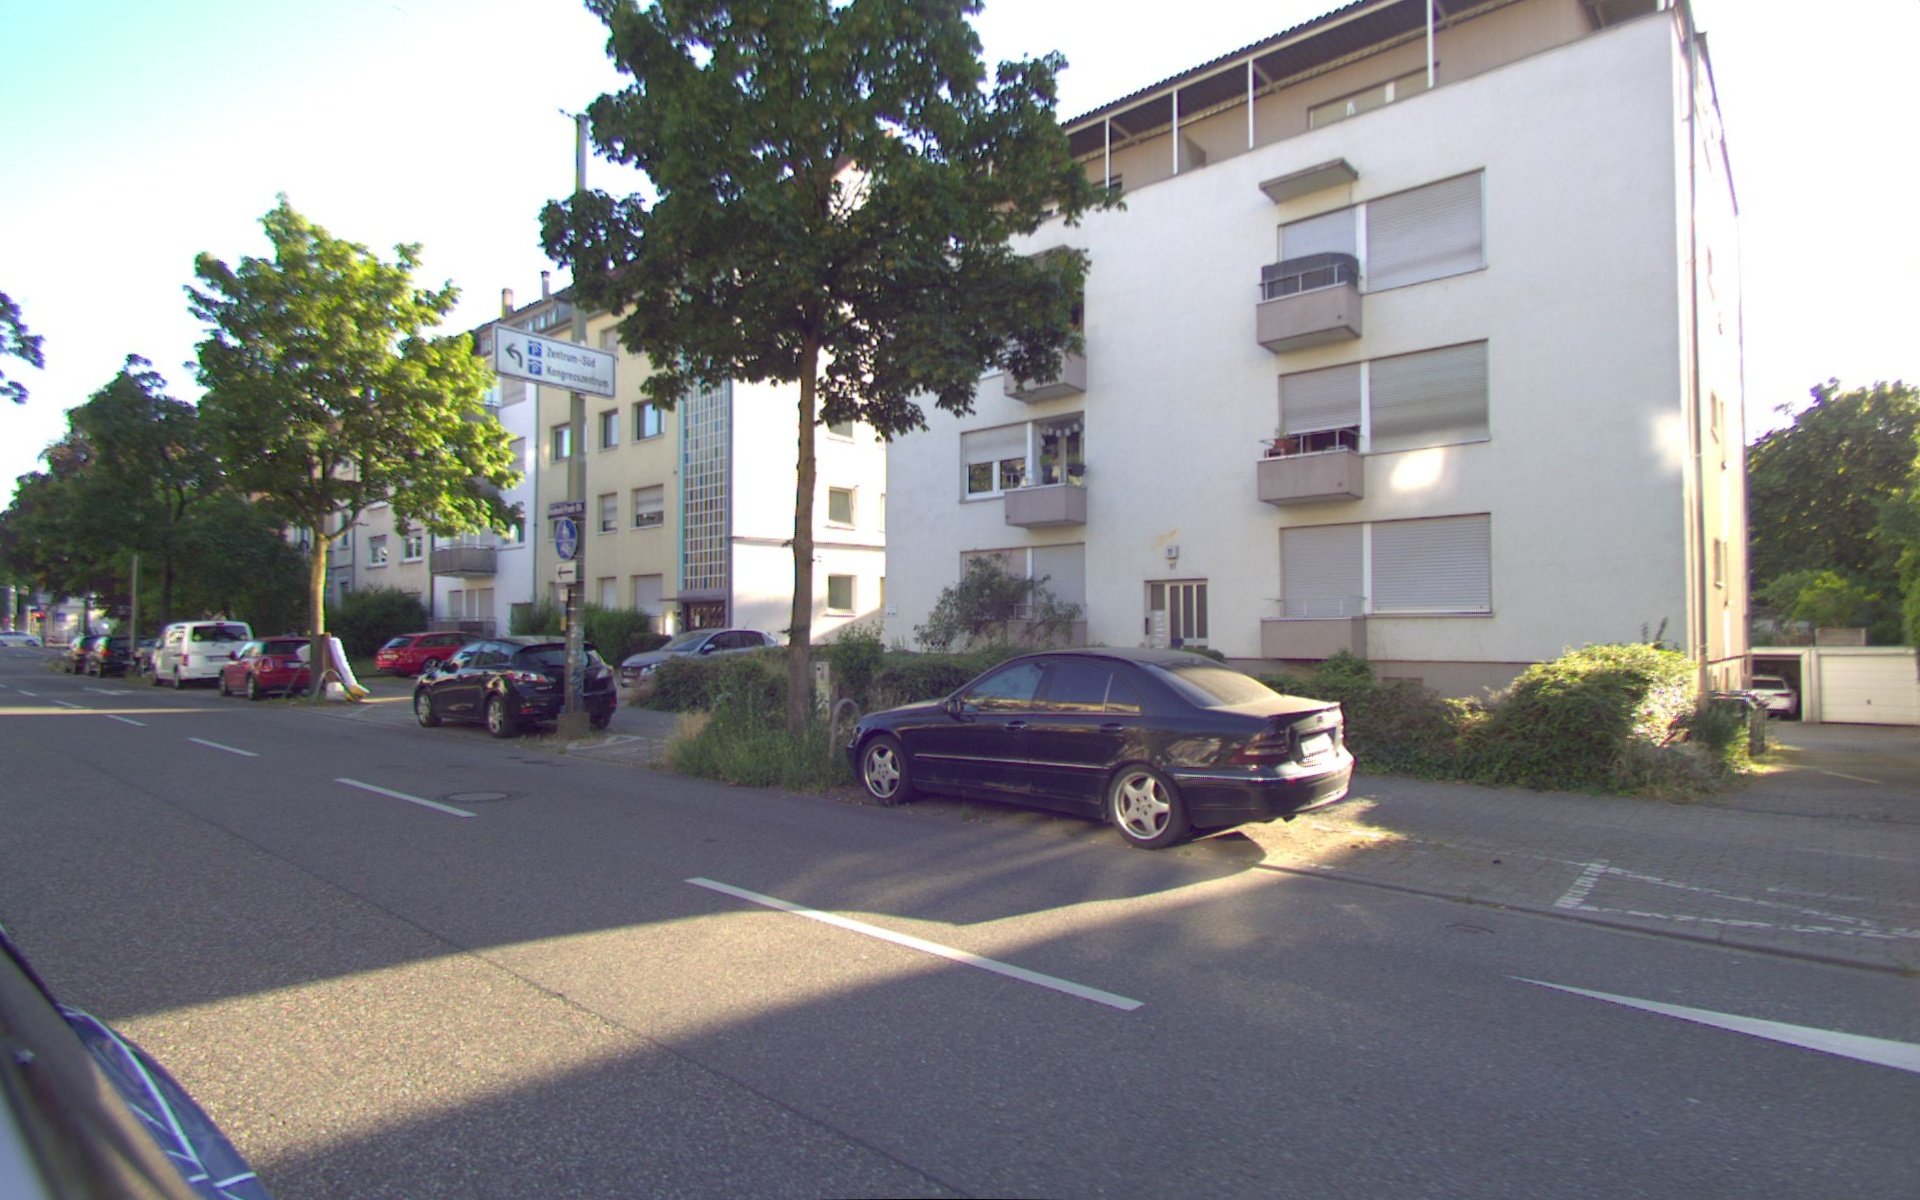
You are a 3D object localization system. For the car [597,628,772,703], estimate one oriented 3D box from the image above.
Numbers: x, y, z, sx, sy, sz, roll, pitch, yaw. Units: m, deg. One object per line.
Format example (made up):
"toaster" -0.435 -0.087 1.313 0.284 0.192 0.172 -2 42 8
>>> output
"car" -6.063 1.401 22.518 1.686 1.535 3.422 -2 -3 42

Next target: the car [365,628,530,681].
"car" -16.284 1.680 32.386 1.735 1.416 4.516 -1 0 30

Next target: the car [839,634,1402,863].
"car" 1.093 1.000 8.396 4.441 1.418 1.620 -2 -2 41

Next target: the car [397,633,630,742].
"car" -7.101 1.279 15.953 3.998 1.497 1.838 -2 -3 41

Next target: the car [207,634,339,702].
"car" -16.412 1.560 24.125 3.634 1.475 1.717 -2 -2 41

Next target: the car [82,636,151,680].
"car" -30.042 2.015 35.995 3.682 1.416 1.388 -1 0 42

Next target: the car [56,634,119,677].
"car" -33.304 2.073 38.599 3.682 1.475 1.388 -1 0 42

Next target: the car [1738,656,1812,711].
"car" 30.065 3.026 37.298 1.847 1.884 3.944 -2 -4 42

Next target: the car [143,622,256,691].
"car" -21.622 1.558 28.715 4.189 1.823 1.717 -2 -2 41

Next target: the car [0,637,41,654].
"car" -92.301 4.400 98.375 3.934 1.597 2.005 0 -2 -12
